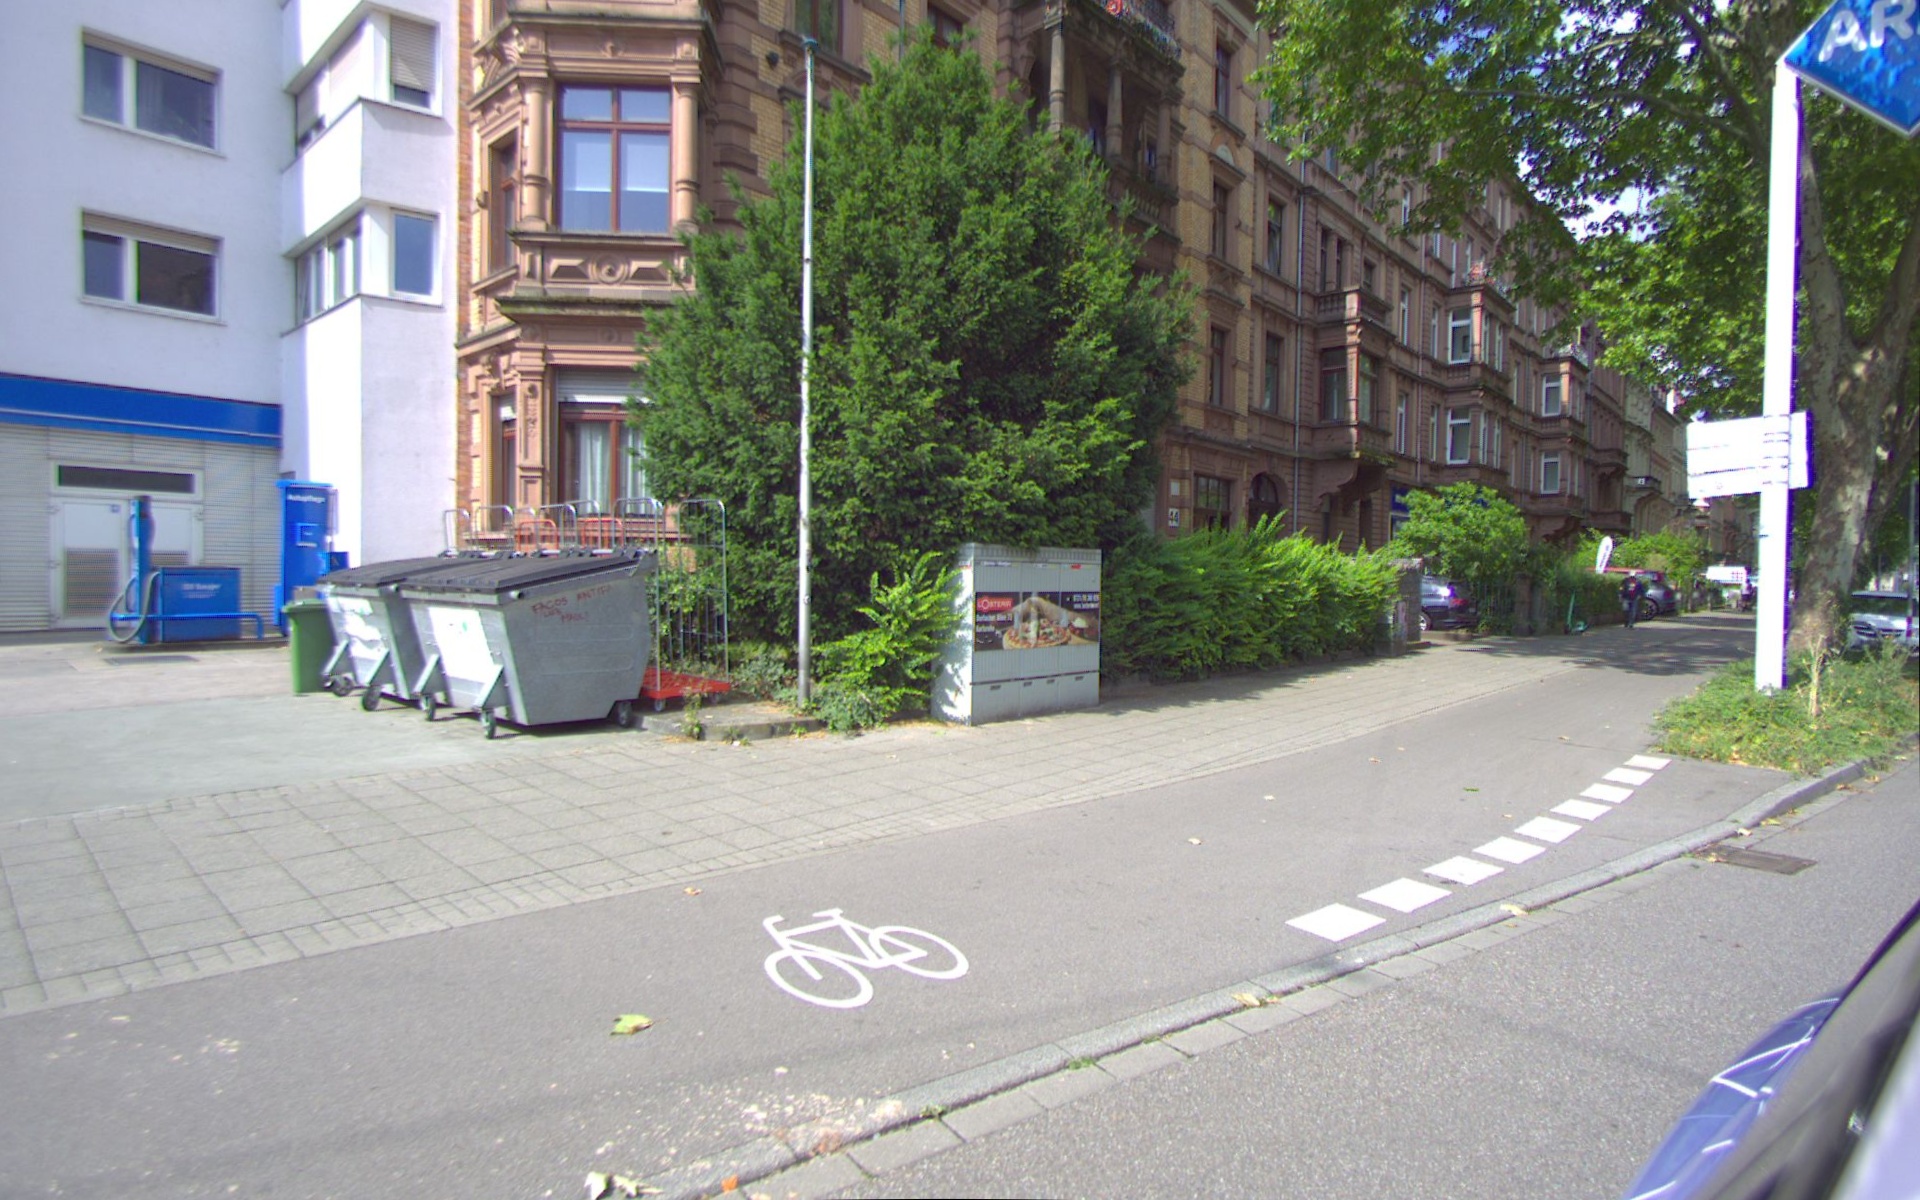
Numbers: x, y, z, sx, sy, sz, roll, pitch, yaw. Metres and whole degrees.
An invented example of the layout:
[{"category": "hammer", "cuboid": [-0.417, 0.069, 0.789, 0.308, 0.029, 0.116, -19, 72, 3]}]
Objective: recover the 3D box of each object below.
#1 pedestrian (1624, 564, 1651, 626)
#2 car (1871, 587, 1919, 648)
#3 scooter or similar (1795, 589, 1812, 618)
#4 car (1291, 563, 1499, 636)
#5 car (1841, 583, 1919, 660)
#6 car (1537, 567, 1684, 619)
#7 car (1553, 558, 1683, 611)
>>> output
[{"category": "pedestrian", "cuboid": [20.134, -0.155, 30.078, 0.564, 1.808, 0.620, 2, 1, 43]}, {"category": "car", "cuboid": [24.801, 0.417, 26.263, 1.677, 1.462, 3.800, 2, 2, 42]}, {"category": "scooter or similar", "cuboid": [36.282, 0.140, 43.529, 0.466, 1.226, 1.303, 2, 1, 42]}, {"category": "car", "cuboid": [10.525, -0.078, 24.652, 4.235, 1.487, 1.912, 4, 4, 43]}, {"category": "car", "cuboid": [20.136, 0.409, 21.858, 1.553, 1.503, 3.800, 3, 2, 42]}, {"category": "car", "cuboid": [25.501, -0.323, 39.795, 4.707, 1.804, 1.980, 3, 2, 35]}, {"category": "car", "cuboid": [28.792, -0.700, 44.378, 4.399, 1.962, 1.953, 6, 4, 43]}]
